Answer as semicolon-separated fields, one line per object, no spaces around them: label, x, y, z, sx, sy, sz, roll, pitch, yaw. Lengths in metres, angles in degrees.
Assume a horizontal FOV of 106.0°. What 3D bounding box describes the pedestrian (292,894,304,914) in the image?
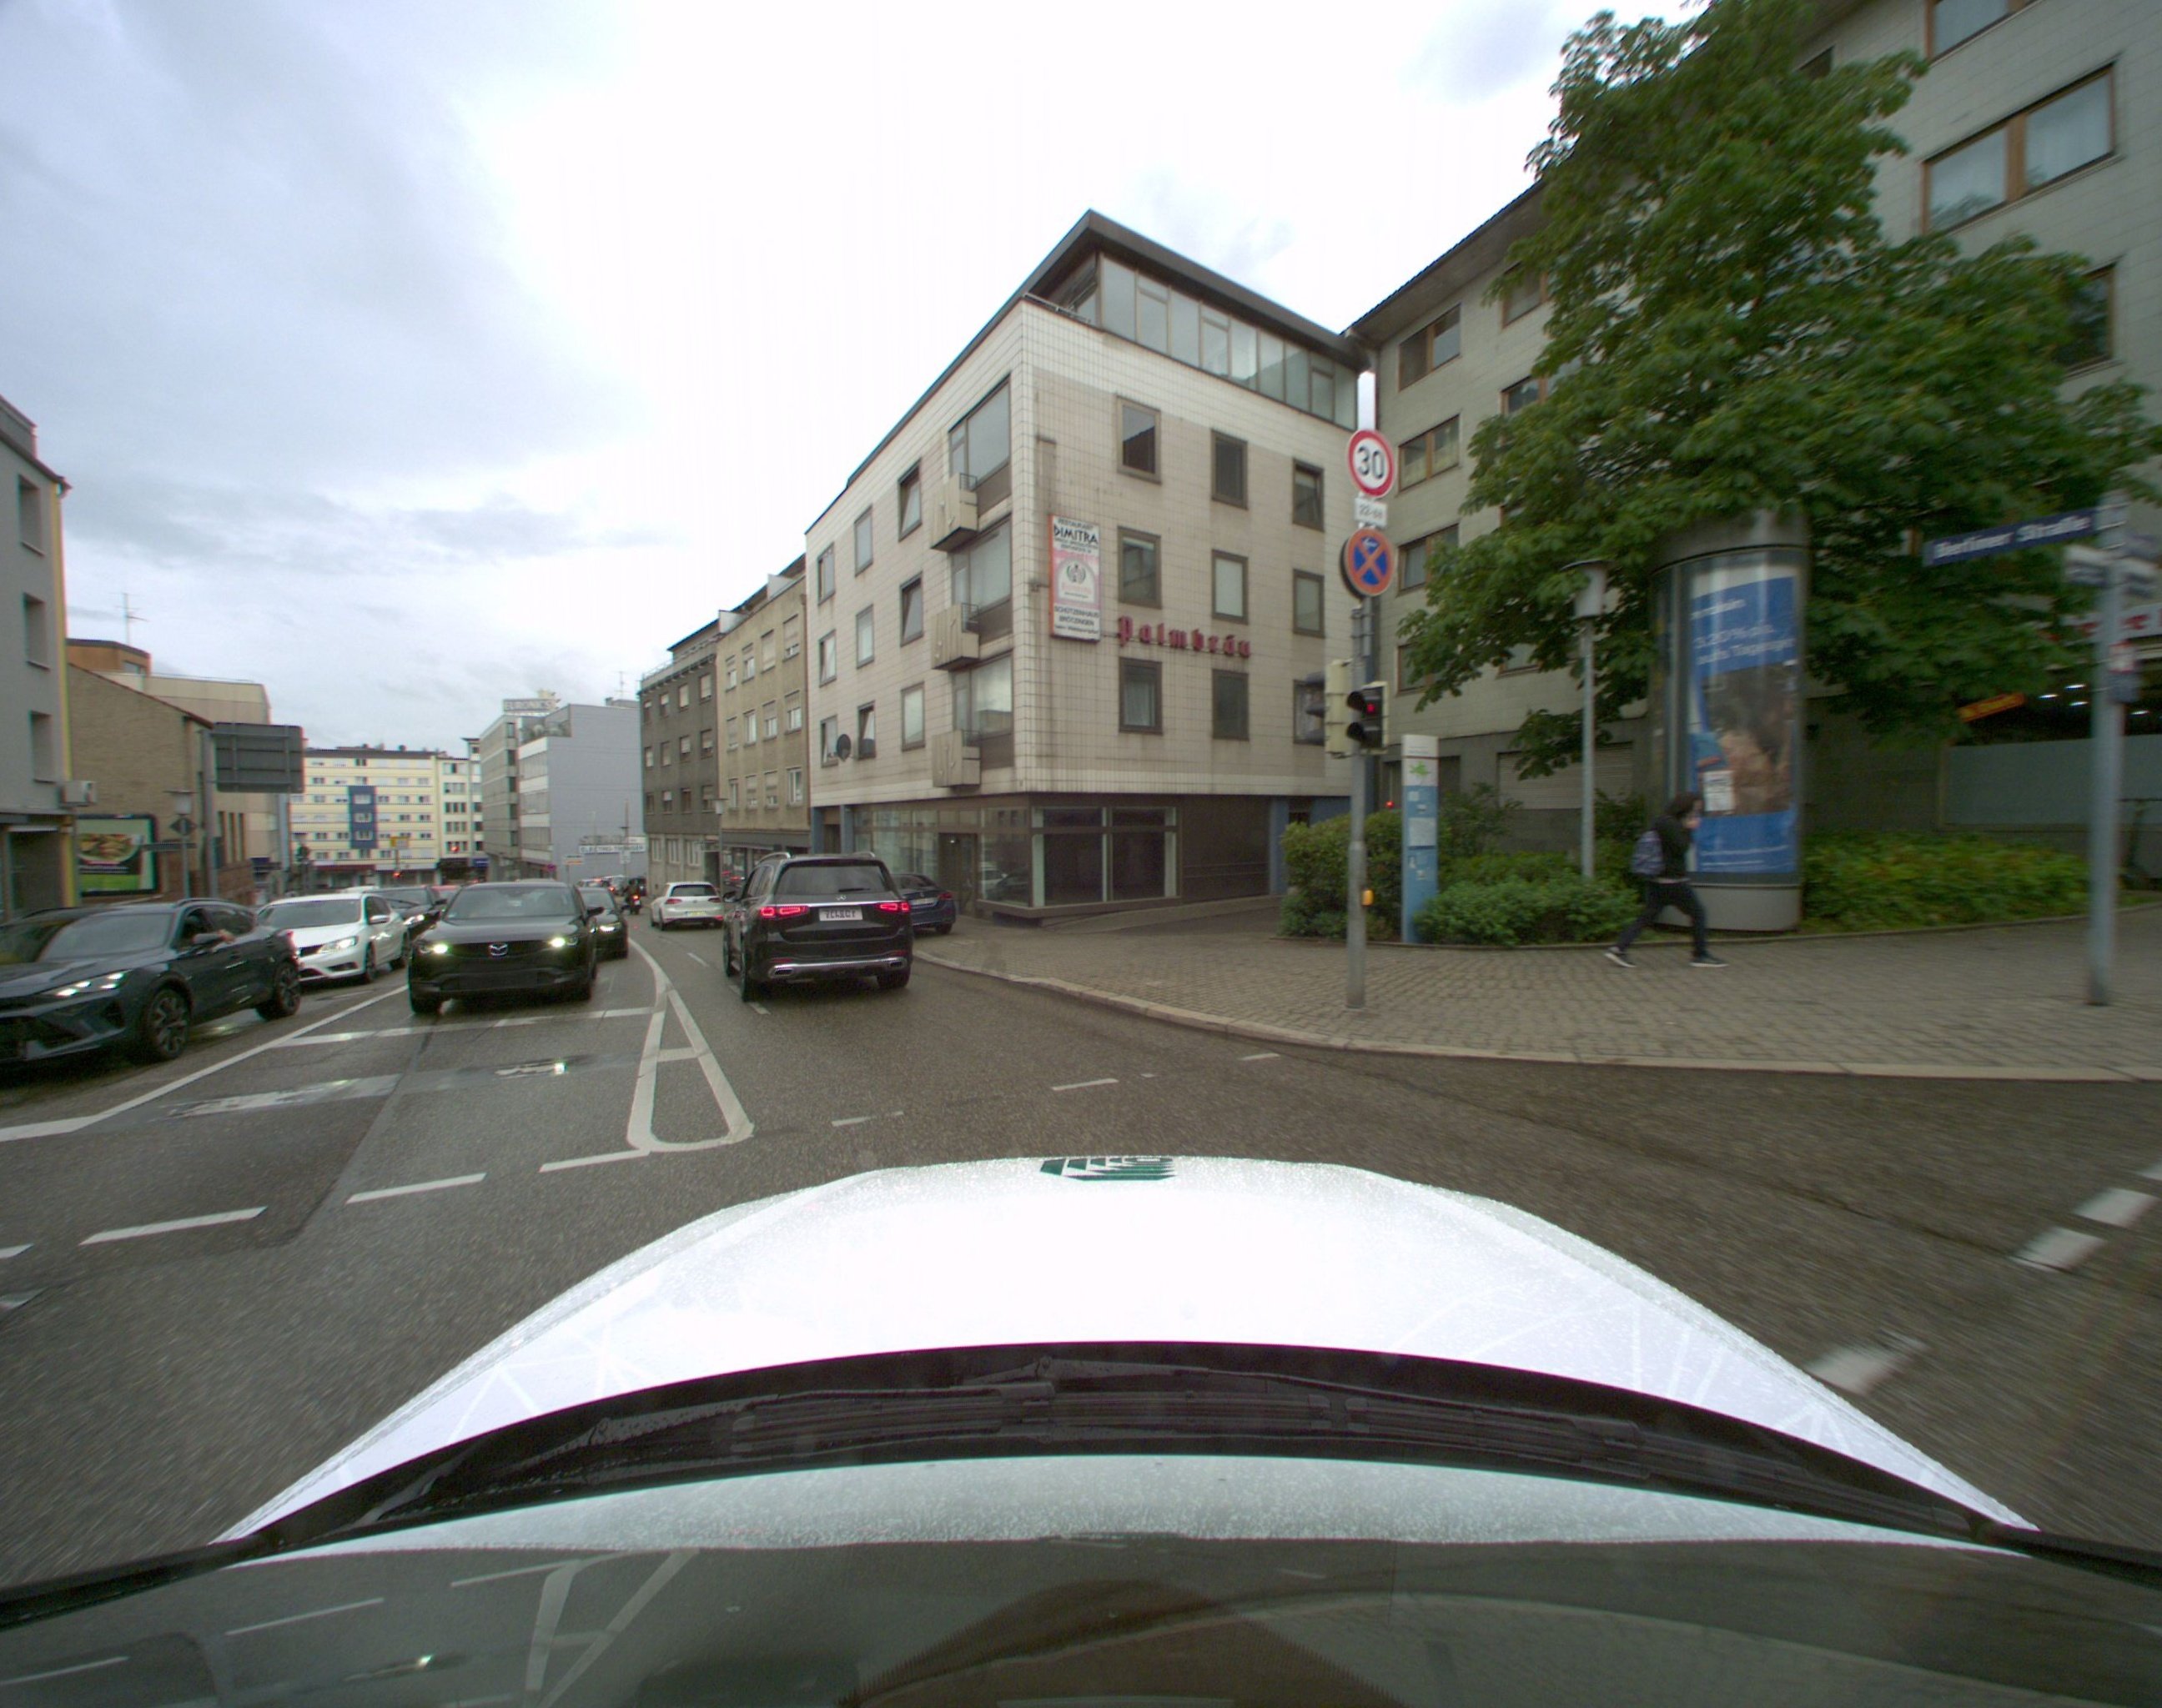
pedestrian;-67.165;4.287;69.880;0.598;1.652;0.677;3;3;44

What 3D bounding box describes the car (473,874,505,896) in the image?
car;-41.084;2.161;56.541;1.711;1.480;4.243;0;-2;-36

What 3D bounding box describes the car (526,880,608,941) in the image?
car;-15.161;1.584;23.910;1.820;1.521;4.512;-2;-1;-35

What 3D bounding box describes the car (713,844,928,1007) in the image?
car;-3.874;0.872;11.456;2.032;1.739;4.703;-1;-2;-28

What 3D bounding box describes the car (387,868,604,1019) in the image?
car;-7.667;1.064;11.104;1.830;1.537;4.337;-2;-1;-29

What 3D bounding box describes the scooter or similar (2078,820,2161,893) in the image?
scooter or similar;12.864;0.026;9.624;0.544;0.842;1.471;1;3;12

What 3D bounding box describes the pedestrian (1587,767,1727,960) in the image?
pedestrian;5.825;0.074;8.293;0.749;1.817;0.918;-3;2;3

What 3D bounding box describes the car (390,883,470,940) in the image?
car;-20.729;1.775;26.073;1.754;1.515;4.084;-4;1;-36

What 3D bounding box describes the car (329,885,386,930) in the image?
car;-33.283;2.445;37.523;1.742;1.829;4.012;-4;0;-40

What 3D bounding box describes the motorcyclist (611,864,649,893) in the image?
motorcyclist;-19.706;1.055;35.539;0.875;1.057;2.904;-1;3;-41

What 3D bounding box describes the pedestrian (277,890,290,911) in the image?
pedestrian;-67.453;3.926;68.859;0.598;1.652;0.746;3;3;44

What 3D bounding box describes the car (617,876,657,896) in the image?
car;-34.331;2.439;62.973;1.812;1.477;4.431;0;-1;-41

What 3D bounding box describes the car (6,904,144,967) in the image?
car;-28.833;2.251;23.501;1.705;1.455;4.609;-1;-1;-41

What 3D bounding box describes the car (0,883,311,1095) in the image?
car;-9.689;1.146;8.113;1.830;1.477;4.338;-2;1;-29

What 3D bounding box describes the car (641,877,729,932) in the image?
car;-12.618;1.554;25.790;1.844;1.461;4.332;-3;0;-34

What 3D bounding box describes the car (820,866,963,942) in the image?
car;-4.476;1.088;18.752;1.776;1.392;4.333;-5;1;-33

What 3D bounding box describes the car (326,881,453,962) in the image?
car;-17.138;1.603;20.398;1.820;1.631;4.296;-5;1;-34

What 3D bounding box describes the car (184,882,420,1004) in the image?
car;-13.118;1.359;14.069;1.817;1.542;4.338;-2;1;-29

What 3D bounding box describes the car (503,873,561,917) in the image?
car;-23.471;1.724;34.743;1.821;1.705;4.510;1;-2;-37

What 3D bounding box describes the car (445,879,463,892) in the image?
car;-76.007;3.785;98.725;1.535;1.548;3.070;-1;0;-41

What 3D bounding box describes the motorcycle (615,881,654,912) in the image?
motorcycle;-19.382;1.812;35.318;0.875;1.057;2.904;-1;3;-41

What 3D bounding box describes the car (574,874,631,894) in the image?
car;-42.213;2.656;71.944;1.776;1.597;4.024;-3;-2;29

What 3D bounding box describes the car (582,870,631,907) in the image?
car;-27.033;1.911;46.340;1.768;1.780;3.533;-1;3;-41

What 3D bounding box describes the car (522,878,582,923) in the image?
car;-19.154;1.646;29.437;1.711;1.480;4.244;0;-2;-34

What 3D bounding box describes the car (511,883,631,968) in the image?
car;-10.425;1.369;16.831;1.818;1.415;4.336;-2;-1;-30
